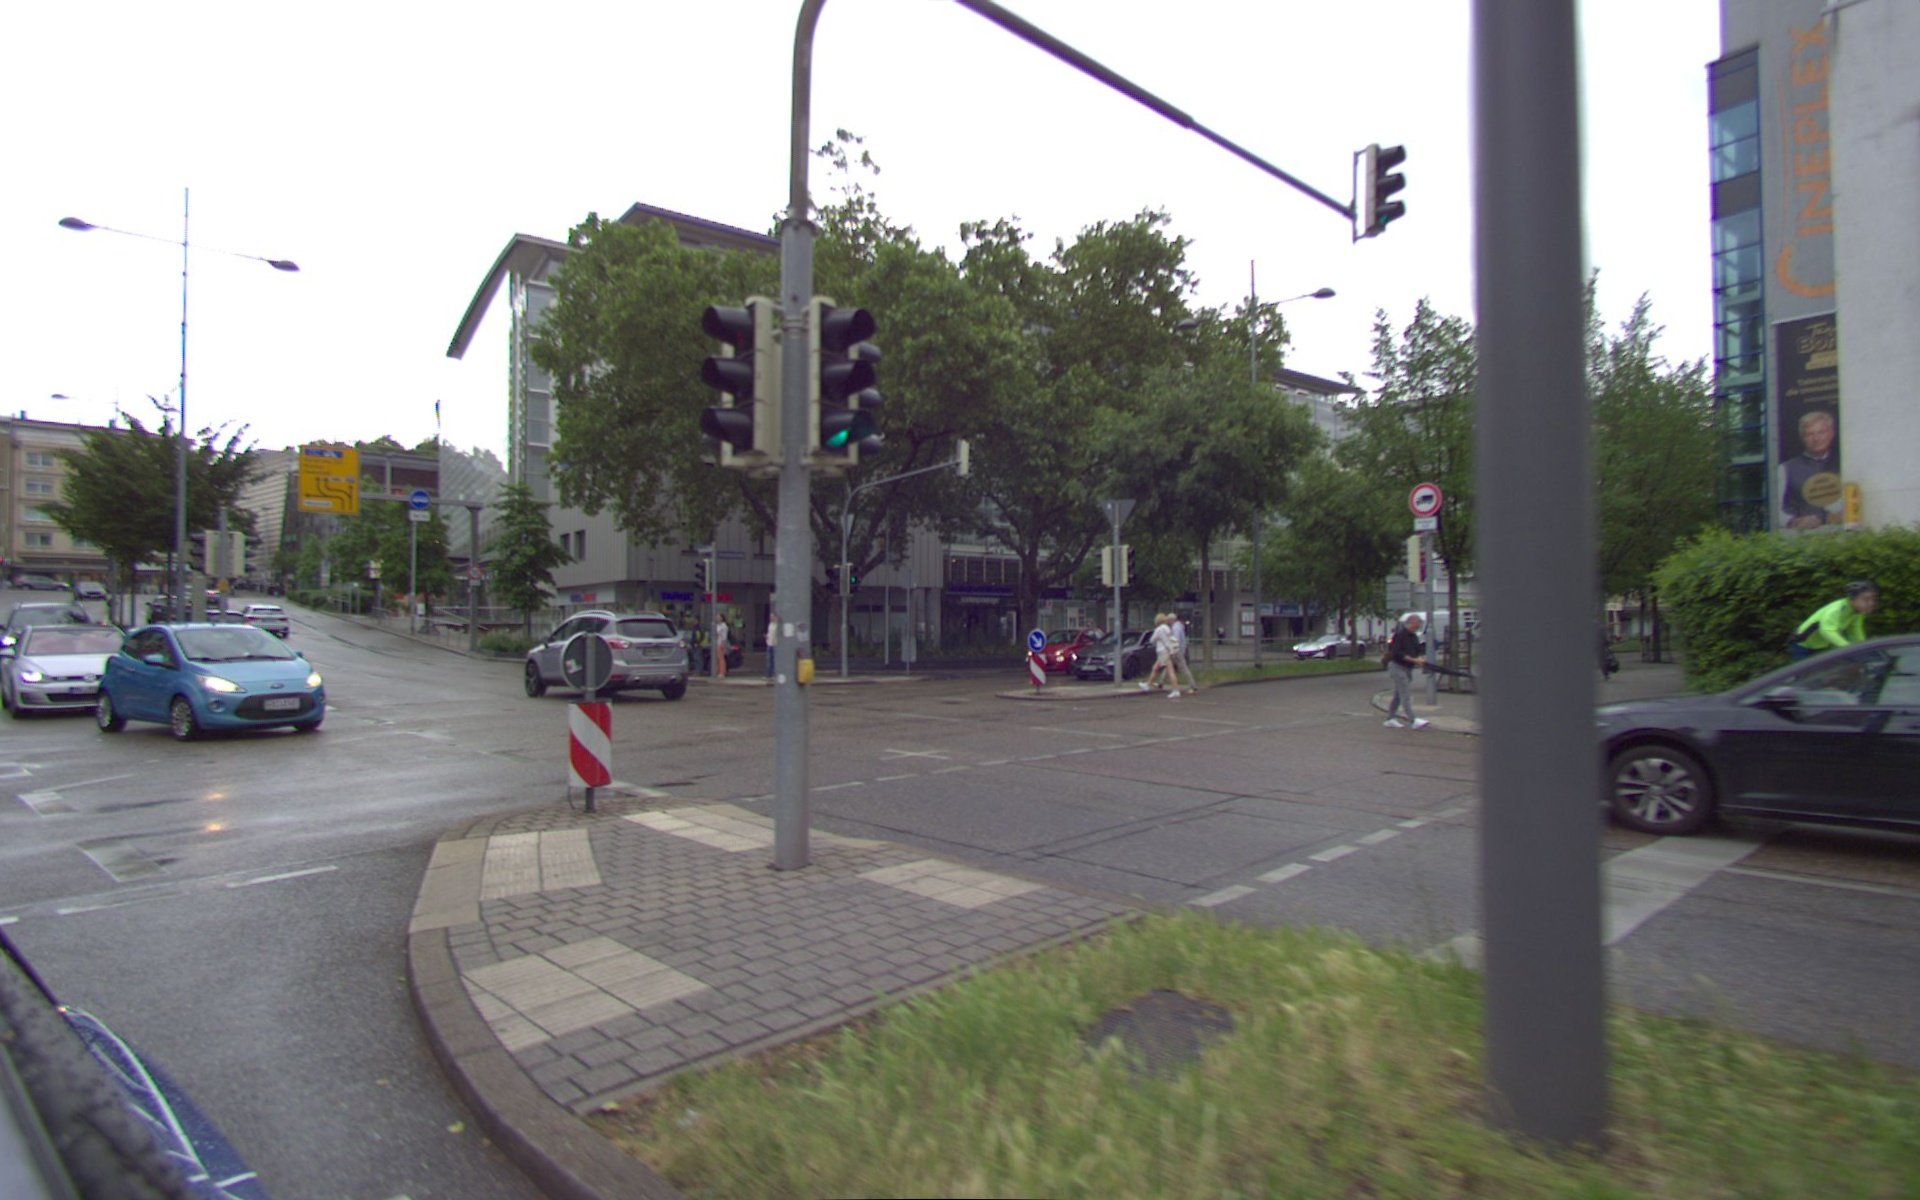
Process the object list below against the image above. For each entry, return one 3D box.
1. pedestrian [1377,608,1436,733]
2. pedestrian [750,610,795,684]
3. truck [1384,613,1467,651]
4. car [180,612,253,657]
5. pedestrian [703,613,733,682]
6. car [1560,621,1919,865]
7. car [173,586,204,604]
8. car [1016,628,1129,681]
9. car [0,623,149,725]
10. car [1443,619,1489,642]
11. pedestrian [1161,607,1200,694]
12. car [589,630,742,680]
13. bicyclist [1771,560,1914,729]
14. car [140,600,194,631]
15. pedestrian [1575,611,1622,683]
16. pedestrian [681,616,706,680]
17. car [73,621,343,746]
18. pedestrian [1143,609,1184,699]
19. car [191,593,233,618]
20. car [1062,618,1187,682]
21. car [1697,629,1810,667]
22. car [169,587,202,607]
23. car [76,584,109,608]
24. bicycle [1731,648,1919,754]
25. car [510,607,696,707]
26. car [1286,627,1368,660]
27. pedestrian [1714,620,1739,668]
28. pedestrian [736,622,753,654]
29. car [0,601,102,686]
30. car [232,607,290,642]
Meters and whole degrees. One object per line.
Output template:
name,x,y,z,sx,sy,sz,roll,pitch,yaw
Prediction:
pedestrian,6.660,1.026,15.077,0.592,1.777,0.640,2,1,42
pedestrian,-5.006,1.239,27.042,0.822,1.921,0.854,-1,-1,23
truck,28.507,1.946,61.865,6.600,2.171,2.003,1,-2,-41
car,-26.915,1.242,36.607,1.604,1.567,3.661,2,-3,-45
pedestrian,-6.662,1.294,27.841,0.676,1.851,0.442,2,0,42
car,6.409,0.890,6.519,4.098,1.431,1.737,-1,-3,45
car,-67.969,-0.447,89.182,1.968,1.520,4.193,1,1,-40
car,3.674,1.721,32.634,1.700,1.598,3.946,-3,-3,40
car,-15.102,1.142,17.082,4.002,1.420,1.745,0,0,45
car,45.567,2.747,91.123,3.744,1.762,1.923,-3,3,-27
pedestrian,4.623,1.042,21.198,0.593,1.778,0.520,-1,-2,45
car,-8.973,1.681,31.200,4.354,1.407,1.938,2,-2,-10
bicyclist,10.445,0.511,12.003,0.780,1.904,0.956,0,-2,-17
car,-40.650,0.802,51.845,1.693,1.490,3.961,4,-3,-44
pedestrian,16.247,1.191,25.769,0.642,1.795,0.796,2,-3,-10
pedestrian,-7.531,1.361,28.598,0.677,1.777,0.406,-4,-4,45
car,-10.230,1.037,13.736,3.677,1.485,1.683,-1,-1,31
pedestrian,4.124,1.083,20.544,0.593,1.777,0.521,-1,2,45
car,-47.227,0.354,63.868,1.599,1.503,3.883,4,-3,-44
car,4.668,1.394,28.523,3.547,1.709,1.638,2,-4,-43
car,38.425,2.329,49.069,3.822,1.674,1.945,0,2,2
car,-58.994,-0.231,77.075,1.606,1.448,3.651,2,0,-43
car,-68.214,-0.320,79.570,1.805,1.749,4.005,2,0,-42
bicycle,10.460,1.146,12.031,0.641,1.119,2.064,0,-2,-16
car,-7.103,1.044,19.906,1.806,1.749,4.314,2,-2,-44
car,18.137,2.109,49.956,3.934,1.567,1.962,1,-2,-36
pedestrian,26.078,1.493,34.425,0.549,1.612,0.530,1,-2,-38
pedestrian,-11.569,2.017,54.323,0.613,1.669,0.634,1,0,-37
car,-23.161,1.005,25.592,1.970,1.791,4.891,-2,3,-43
car,-32.357,1.141,46.817,1.652,1.527,3.646,3,-3,-43
